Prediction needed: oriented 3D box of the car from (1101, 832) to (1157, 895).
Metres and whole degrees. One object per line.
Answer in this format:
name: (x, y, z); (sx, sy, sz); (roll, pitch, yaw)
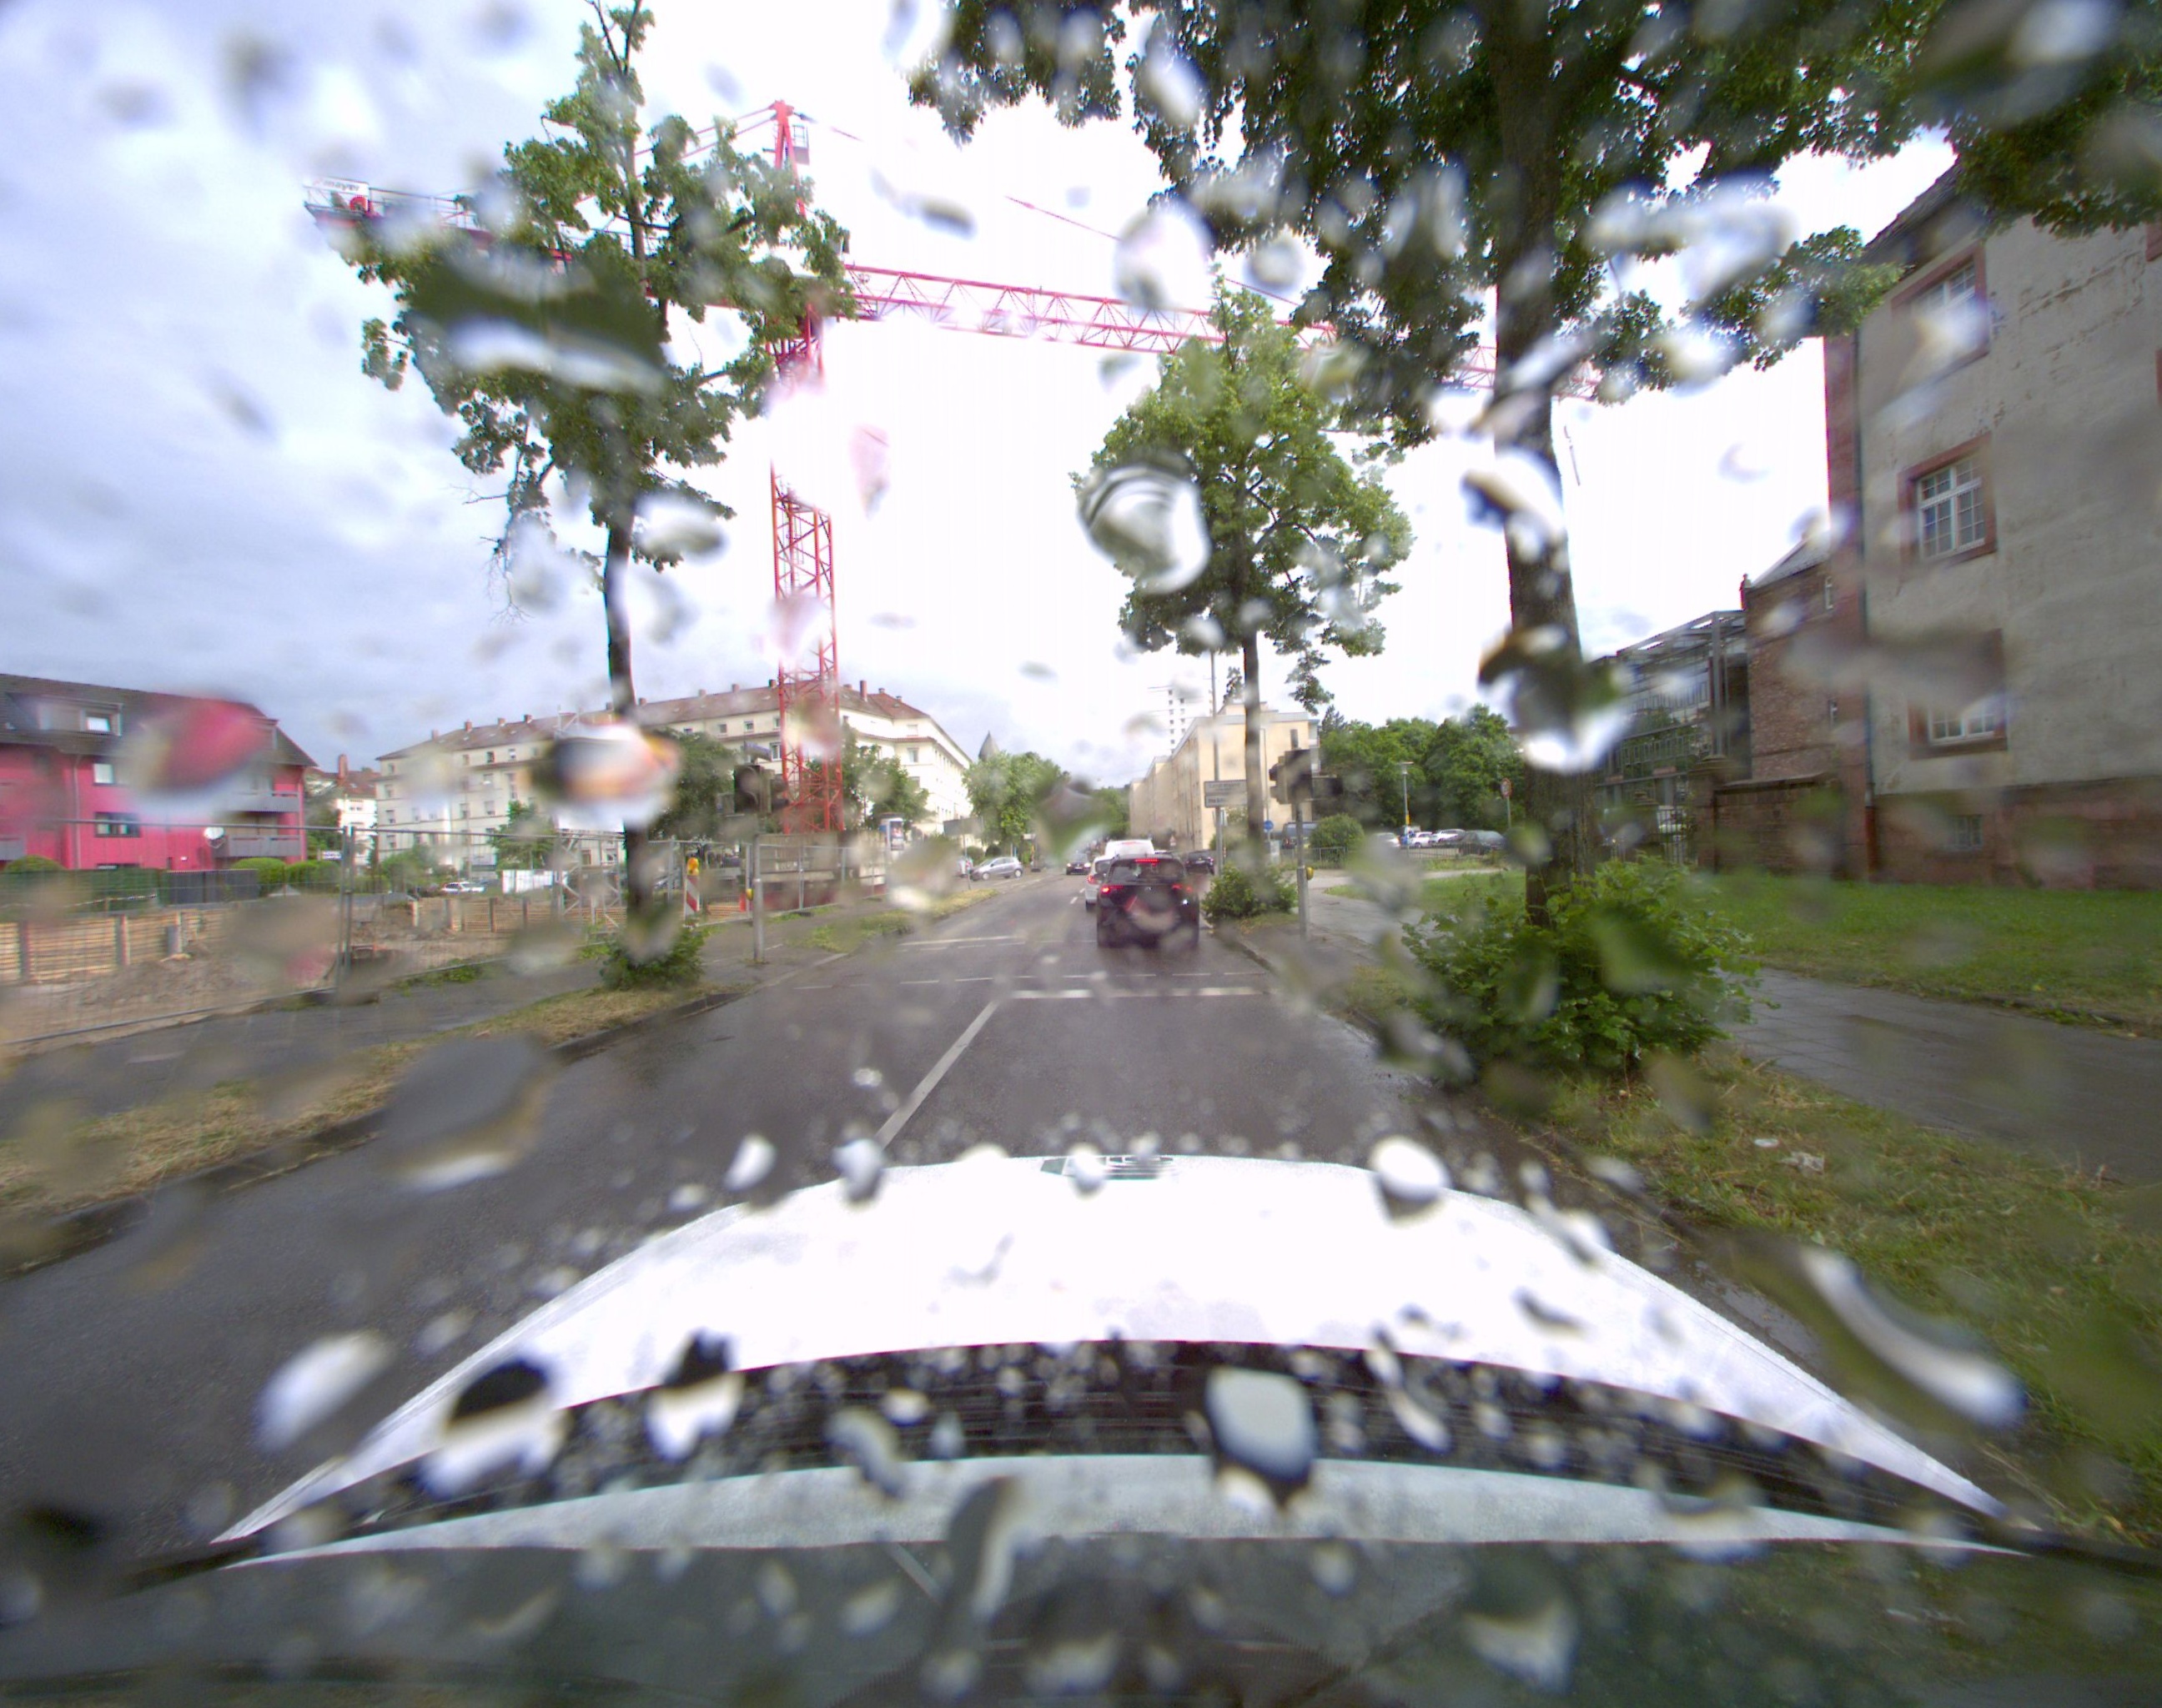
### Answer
car: (1.763, 0.358, 29.466); (1.828, 2.103, 4.004); (-1, -1, 4)

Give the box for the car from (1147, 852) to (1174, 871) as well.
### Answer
car: (6.700, 0.636, 68.893); (1.744, 1.508, 4.109); (-2, 0, -1)

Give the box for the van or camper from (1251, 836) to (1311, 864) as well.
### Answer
van or camper: (17.429, -0.351, 71.304); (4.736, 2.131, 2.325); (-3, 0, 5)

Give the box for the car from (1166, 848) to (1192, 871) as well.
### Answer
car: (6.923, 0.406, 57.570); (1.748, 1.528, 4.006); (0, -2, 6)

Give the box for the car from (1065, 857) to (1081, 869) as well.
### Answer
car: (-1.164, 1.301, 119.651); (1.833, 1.608, 4.004); (-4, 0, 3)

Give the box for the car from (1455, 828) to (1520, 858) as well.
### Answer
car: (22.662, -0.608, 45.620); (1.819, 1.527, 4.432); (-3, 0, 7)

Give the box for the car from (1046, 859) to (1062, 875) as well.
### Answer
car: (-2.906, 1.344, 86.419); (1.582, 1.505, 4.061); (-4, 0, -2)

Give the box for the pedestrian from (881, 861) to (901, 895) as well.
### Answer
pedestrian: (-9.276, 1.152, 39.819); (0.727, 1.630, 0.677); (0, -1, -35)

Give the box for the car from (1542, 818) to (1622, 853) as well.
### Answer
car: (27.120, -0.986, 44.279); (1.845, 1.679, 4.429); (-3, 0, 4)

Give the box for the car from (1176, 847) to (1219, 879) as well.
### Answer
car: (6.537, 0.474, 46.167); (1.768, 1.539, 4.378); (-5, 0, 1)

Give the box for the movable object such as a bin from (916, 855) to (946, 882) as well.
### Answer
movable object such as a bin: (-10.621, 1.033, 57.821); (1.524, 1.824, 1.270); (-3, 1, 21)

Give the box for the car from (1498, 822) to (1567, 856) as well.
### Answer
car: (25.076, -0.819, 45.402); (1.843, 1.679, 4.433); (-3, 0, 8)

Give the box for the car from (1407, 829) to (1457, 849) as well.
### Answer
car: (30.465, -1.308, 70.747); (3.649, 1.486, 1.642); (-3, 0, 5)

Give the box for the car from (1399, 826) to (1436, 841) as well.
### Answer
car: (35.692, -2.139, 86.407); (3.209, 1.397, 1.511); (-3, 0, 5)

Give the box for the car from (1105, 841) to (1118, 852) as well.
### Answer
car: (4.688, -1.164, 125.655); (1.833, 1.608, 3.679); (-4, 0, 3)

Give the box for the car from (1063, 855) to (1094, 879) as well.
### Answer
car: (-0.124, 0.891, 56.265); (1.805, 1.540, 3.986); (-2, -1, 4)

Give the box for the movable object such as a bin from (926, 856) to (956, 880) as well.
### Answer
movable object such as a bin: (-10.206, 1.012, 59.352); (1.524, 1.656, 1.536); (-3, 1, 21)

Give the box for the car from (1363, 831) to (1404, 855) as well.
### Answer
car: (21.052, -0.746, 56.820); (1.641, 1.486, 3.724); (-3, 0, 5)

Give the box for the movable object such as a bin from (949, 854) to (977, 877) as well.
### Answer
movable object such as a bin: (-9.043, 0.882, 62.401); (1.524, 1.662, 1.466); (-3, 1, 21)

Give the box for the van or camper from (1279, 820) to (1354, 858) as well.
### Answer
van or camper: (17.619, -1.097, 61.073); (4.977, 2.554, 2.177); (-2, -1, 3)

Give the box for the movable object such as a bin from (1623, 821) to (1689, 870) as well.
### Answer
movable object such as a bin: (18.511, -0.269, 26.239); (1.101, 1.457, 1.392); (-4, 0, 3)

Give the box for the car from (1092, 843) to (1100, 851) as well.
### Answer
car: (3.534, -1.636, 188.533); (1.660, 1.837, 4.000); (-3, 0, 0)

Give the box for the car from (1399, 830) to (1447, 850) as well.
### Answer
car: (30.646, -1.249, 73.065); (3.649, 1.486, 1.642); (-3, 0, 5)

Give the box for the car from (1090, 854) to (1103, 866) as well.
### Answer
car: (2.387, 0.846, 123.611); (1.733, 1.608, 3.679); (-4, 0, 3)

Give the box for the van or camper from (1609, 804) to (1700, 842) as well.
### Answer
van or camper: (40.179, -2.145, 57.112); (4.768, 2.486, 2.259); (-1, -1, 1)

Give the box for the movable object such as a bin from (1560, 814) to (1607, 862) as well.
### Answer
movable object such as a bin: (16.103, -0.513, 26.129); (0.796, 1.457, 1.098); (-4, 0, 3)

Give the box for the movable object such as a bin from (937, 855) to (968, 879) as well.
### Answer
movable object such as a bin: (-9.608, 0.957, 60.899); (1.524, 1.674, 1.674); (-3, 1, 21)

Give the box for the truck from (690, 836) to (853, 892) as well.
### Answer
truck: (-20.785, 0.657, 54.852); (9.737, 3.184, 3.809); (-3, 0, 16)

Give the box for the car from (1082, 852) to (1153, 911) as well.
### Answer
car: (1.030, 0.723, 23.081); (1.806, 1.503, 4.002); (-1, -1, 2)

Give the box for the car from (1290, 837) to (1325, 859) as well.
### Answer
car: (15.939, -0.411, 57.359); (1.604, 1.448, 3.420); (-3, 0, 3)

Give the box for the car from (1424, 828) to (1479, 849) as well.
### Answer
car: (29.823, -1.242, 65.697); (3.649, 1.486, 1.642); (-3, 0, 5)

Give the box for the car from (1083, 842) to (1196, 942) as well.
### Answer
car: (1.050, 0.660, 15.673); (1.866, 1.645, 4.064); (-1, -1, 2)

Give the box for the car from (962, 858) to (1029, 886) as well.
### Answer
car: (-5.678, 1.184, 54.095); (4.011, 1.636, 1.877); (-3, 1, -29)
